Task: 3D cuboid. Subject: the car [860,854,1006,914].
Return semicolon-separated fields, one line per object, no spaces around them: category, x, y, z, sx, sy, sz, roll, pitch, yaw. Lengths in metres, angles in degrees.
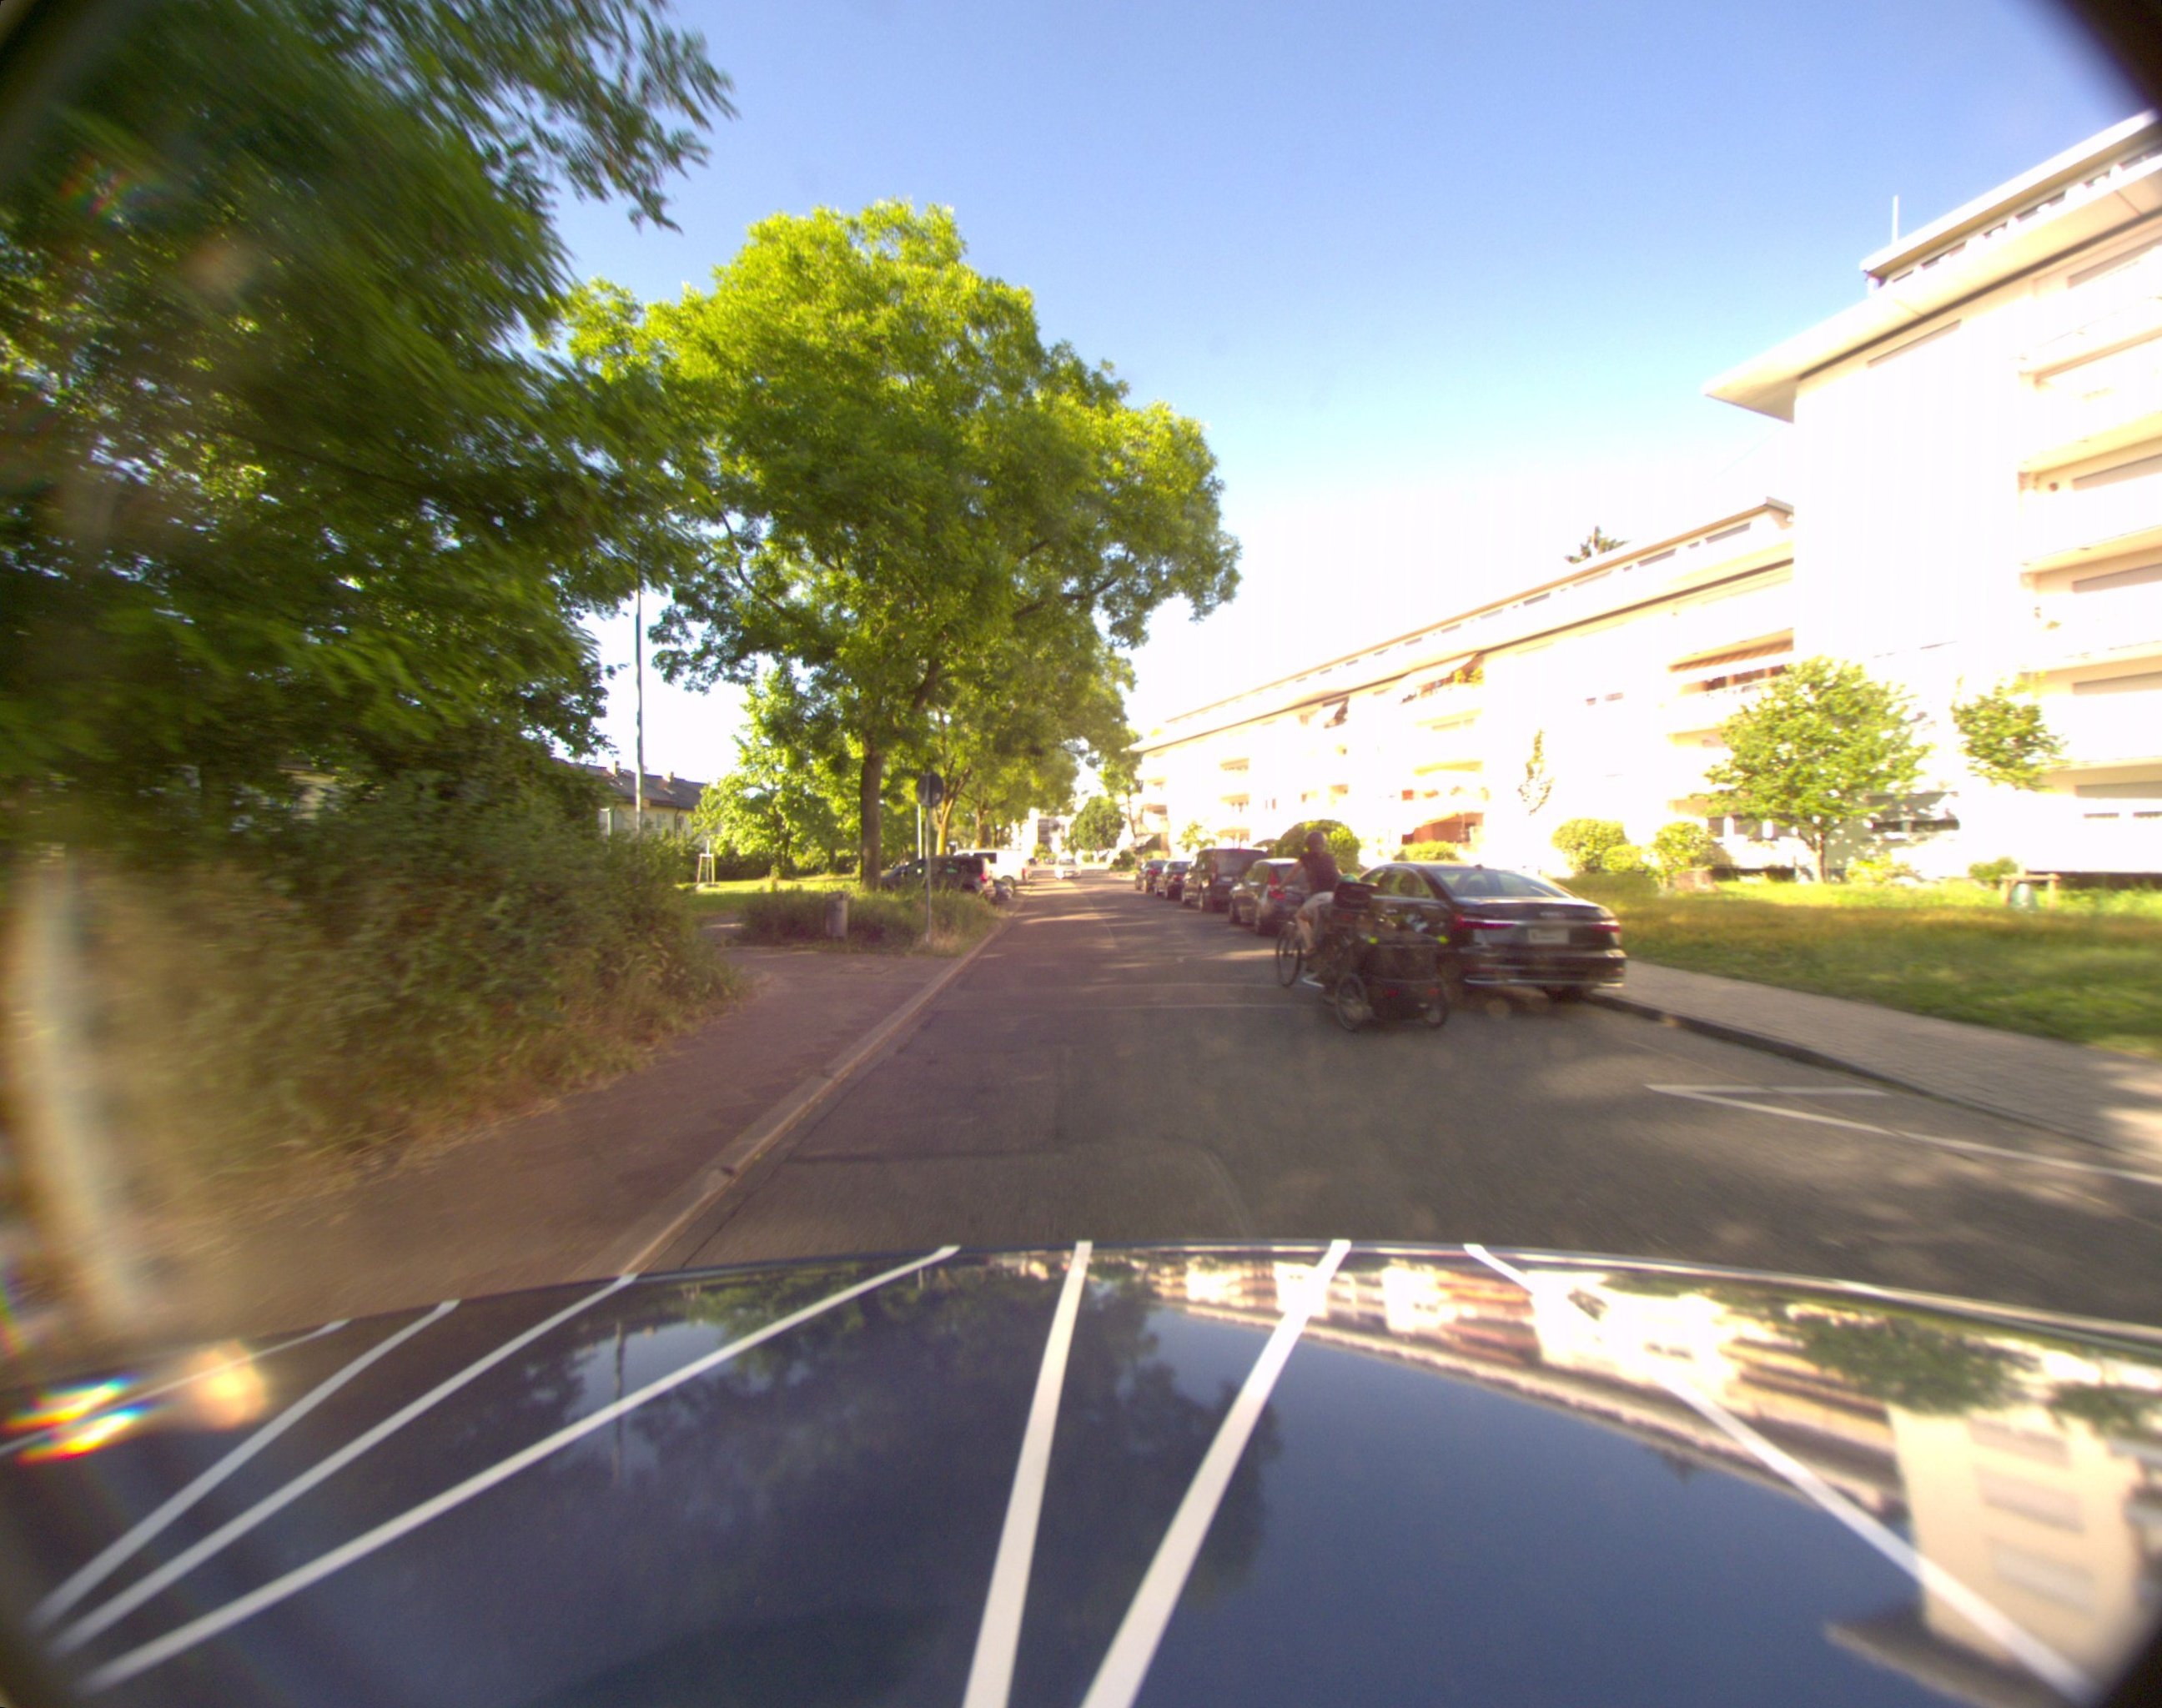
car;-4.542;0.909;23.801;4.159;1.685;1.775;-1;1;1

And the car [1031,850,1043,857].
car;-9.667;-0.109;167.080;1.795;1.535;4.047;-5;1;-12

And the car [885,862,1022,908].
car;-4.350;1.060;26.389;4.463;1.406;1.774;-1;1;-2

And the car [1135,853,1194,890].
car;3.639;0.708;33.965;1.845;1.473;4.798;-1;1;-3

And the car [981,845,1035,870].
car;-5.602;0.284;59.033;4.053;1.754;1.744;-2;1;-4

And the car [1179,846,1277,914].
car;4.184;0.664;22.405;1.845;1.770;4.887;-1;1;-1

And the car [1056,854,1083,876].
car;-0.875;0.772;53.757;1.597;1.417;4.168;0;1;-5

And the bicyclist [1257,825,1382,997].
bicyclist;2.459;0.551;7.954;0.847;1.648;1.064;-2;1;-6

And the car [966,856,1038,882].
car;-5.052;0.953;48.877;4.492;1.463;1.744;-2;1;-4

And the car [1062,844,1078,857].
car;-1.742;-0.537;119.914;2.008;1.837;4.613;-4;1;-6

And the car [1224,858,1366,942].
car;4.224;0.840;15.664;1.844;1.446;4.018;-1;0;1

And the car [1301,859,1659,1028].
car;4.222;0.803;9.085;1.732;1.455;4.681;-1;0;-1

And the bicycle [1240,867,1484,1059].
bicycle;2.516;0.866;7.460;0.853;1.363;3.218;-2;1;-6

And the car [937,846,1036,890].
car;-4.477;0.657;36.443;4.463;2.005;2.021;-1;1;-1

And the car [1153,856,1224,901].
car;3.911;0.841;28.421;1.845;1.473;4.573;1;1;-2
